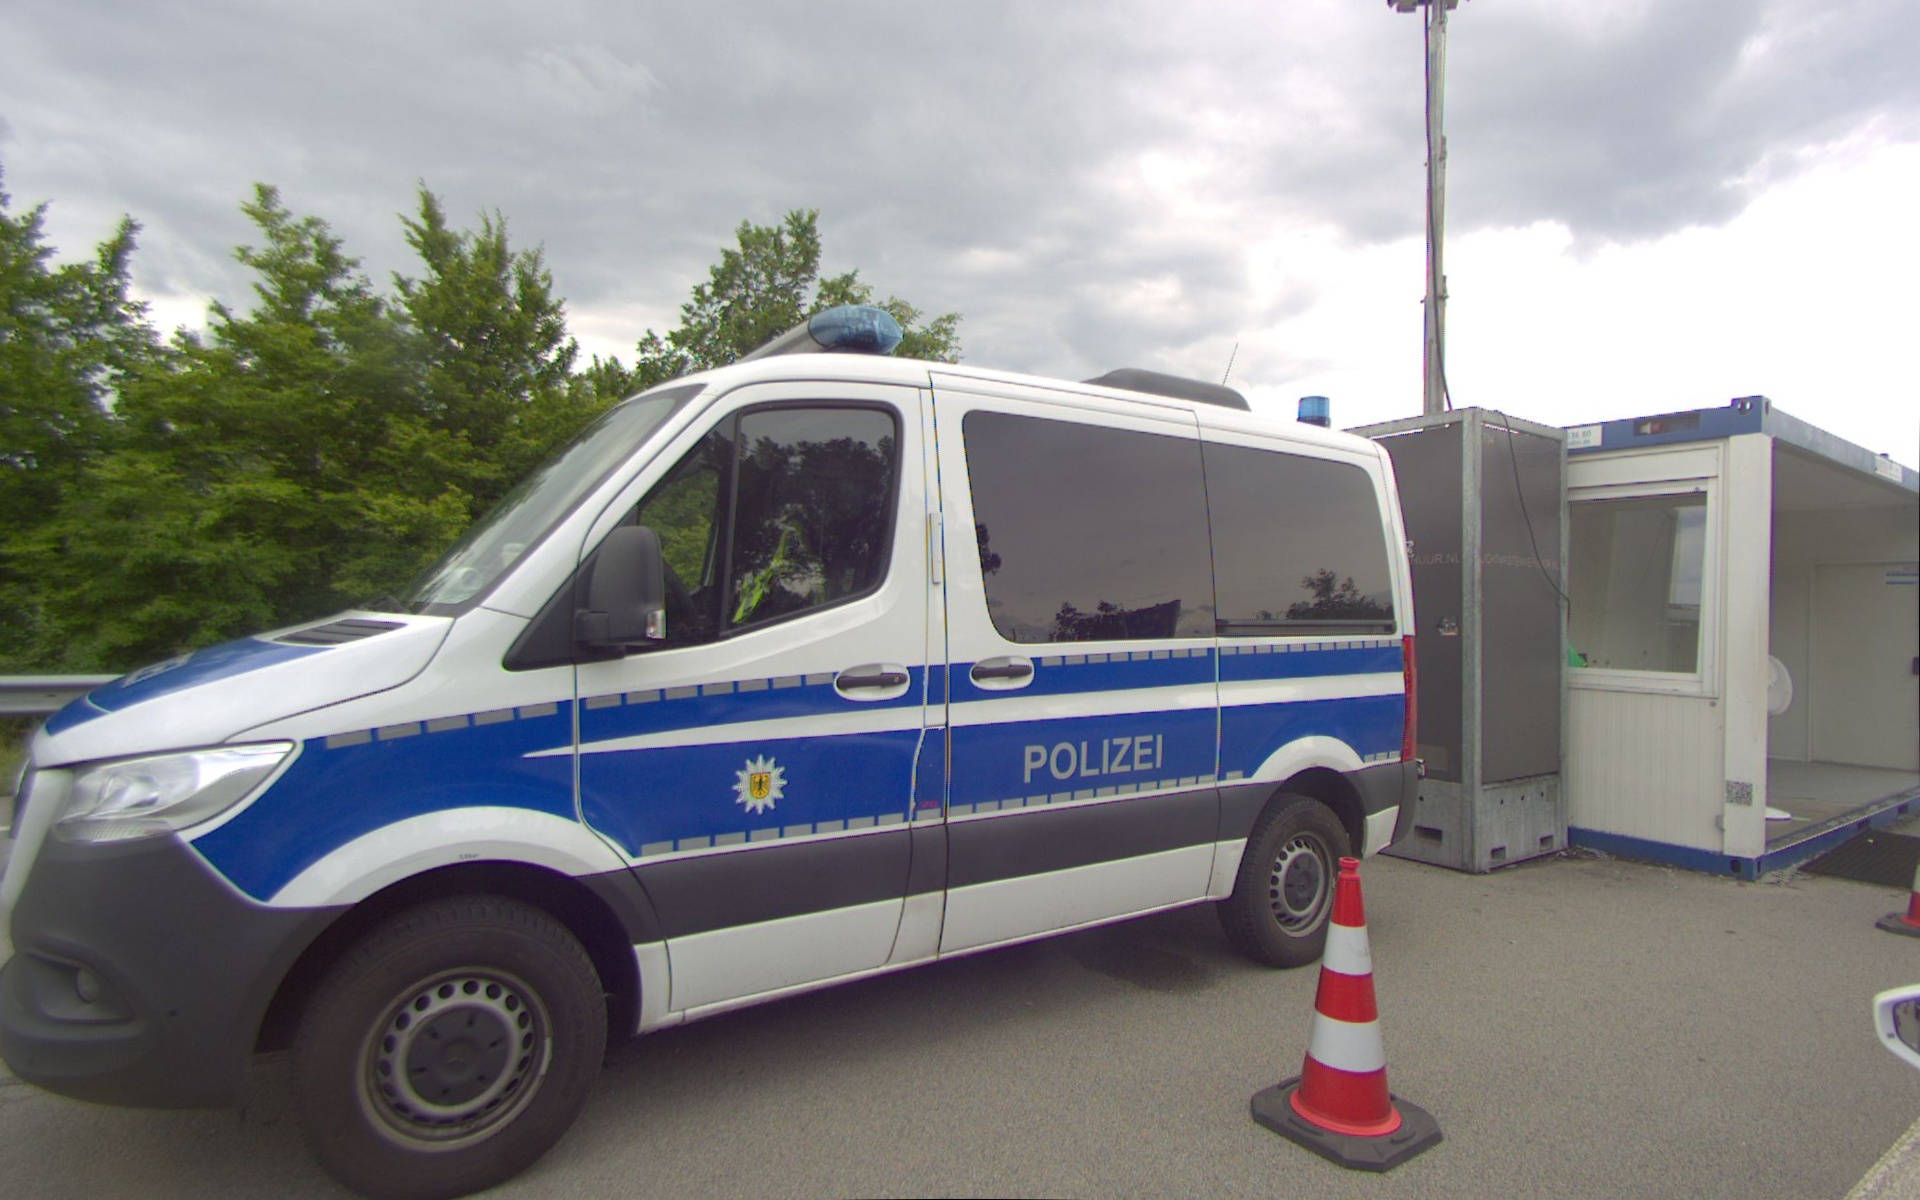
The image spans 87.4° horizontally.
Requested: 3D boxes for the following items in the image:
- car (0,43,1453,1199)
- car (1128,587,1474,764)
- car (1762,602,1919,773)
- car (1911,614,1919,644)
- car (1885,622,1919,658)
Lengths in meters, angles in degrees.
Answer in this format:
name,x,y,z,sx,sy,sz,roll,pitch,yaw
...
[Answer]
name,x,y,z,sx,sy,sz,roll,pitch,yaw
car,-0.447,0.241,4.062,5.224,2.496,2.017,2,0,-34
car,4.103,0.793,11.908,3.966,1.766,1.857,2,-1,-34
car,11.403,0.960,11.918,3.966,1.766,1.857,2,-1,-34
car,74.412,2.251,77.256,1.836,2.252,4.231,1,-1,44
car,42.777,1.769,44.872,4.227,1.518,1.837,2,-1,-44
